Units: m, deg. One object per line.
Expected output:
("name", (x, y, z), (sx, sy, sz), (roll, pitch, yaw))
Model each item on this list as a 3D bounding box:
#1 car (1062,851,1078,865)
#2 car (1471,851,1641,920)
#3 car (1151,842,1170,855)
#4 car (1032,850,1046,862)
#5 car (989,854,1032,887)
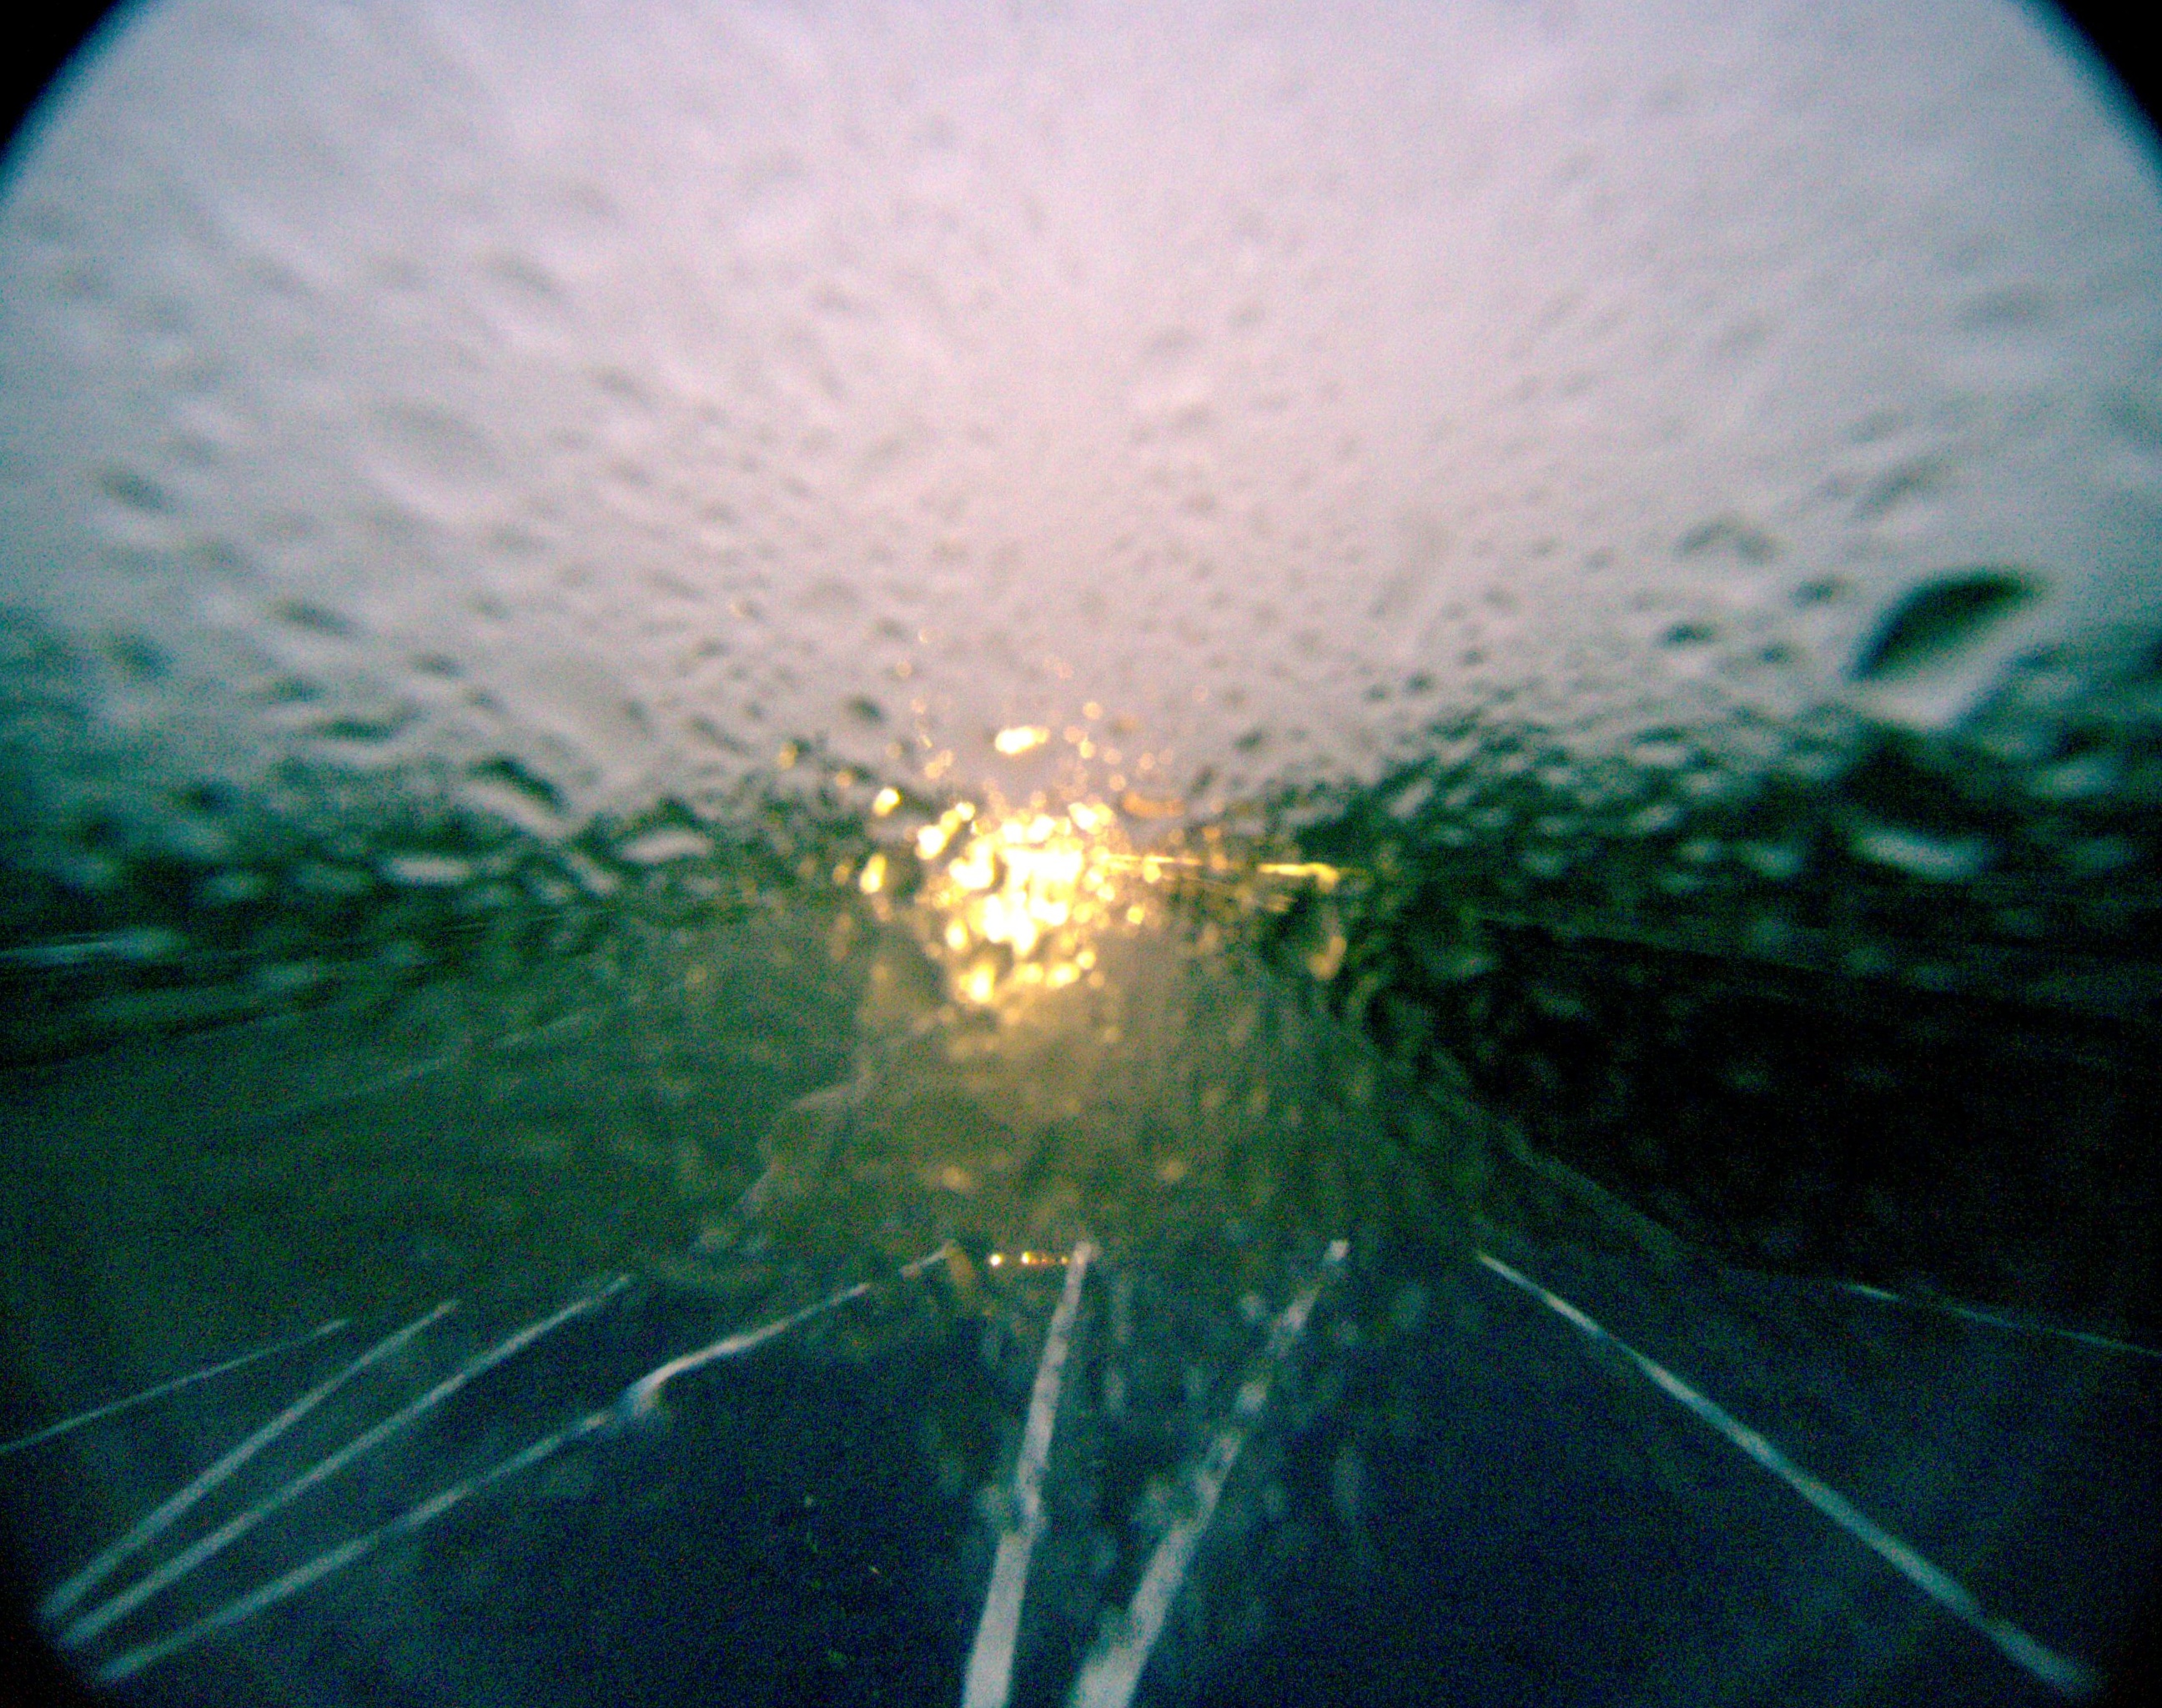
("car", (-1.275, 0.445, 85.051), (1.632, 1.465, 3.999), (-1, 0, -3))
("car", (11.130, 0.658, 18.160), (1.537, 1.357, 4.000), (-3, 1, 1))
("car", (9.327, -0.610, 89.289), (1.605, 1.415, 3.545), (-1, 0, -4))
("car", (-5.366, 0.229, 96.475), (1.632, 1.465, 3.998), (-1, 0, -6))
("car", (-3.457, 0.815, 38.018), (1.802, 1.494, 4.000), (-3, -1, -1))
